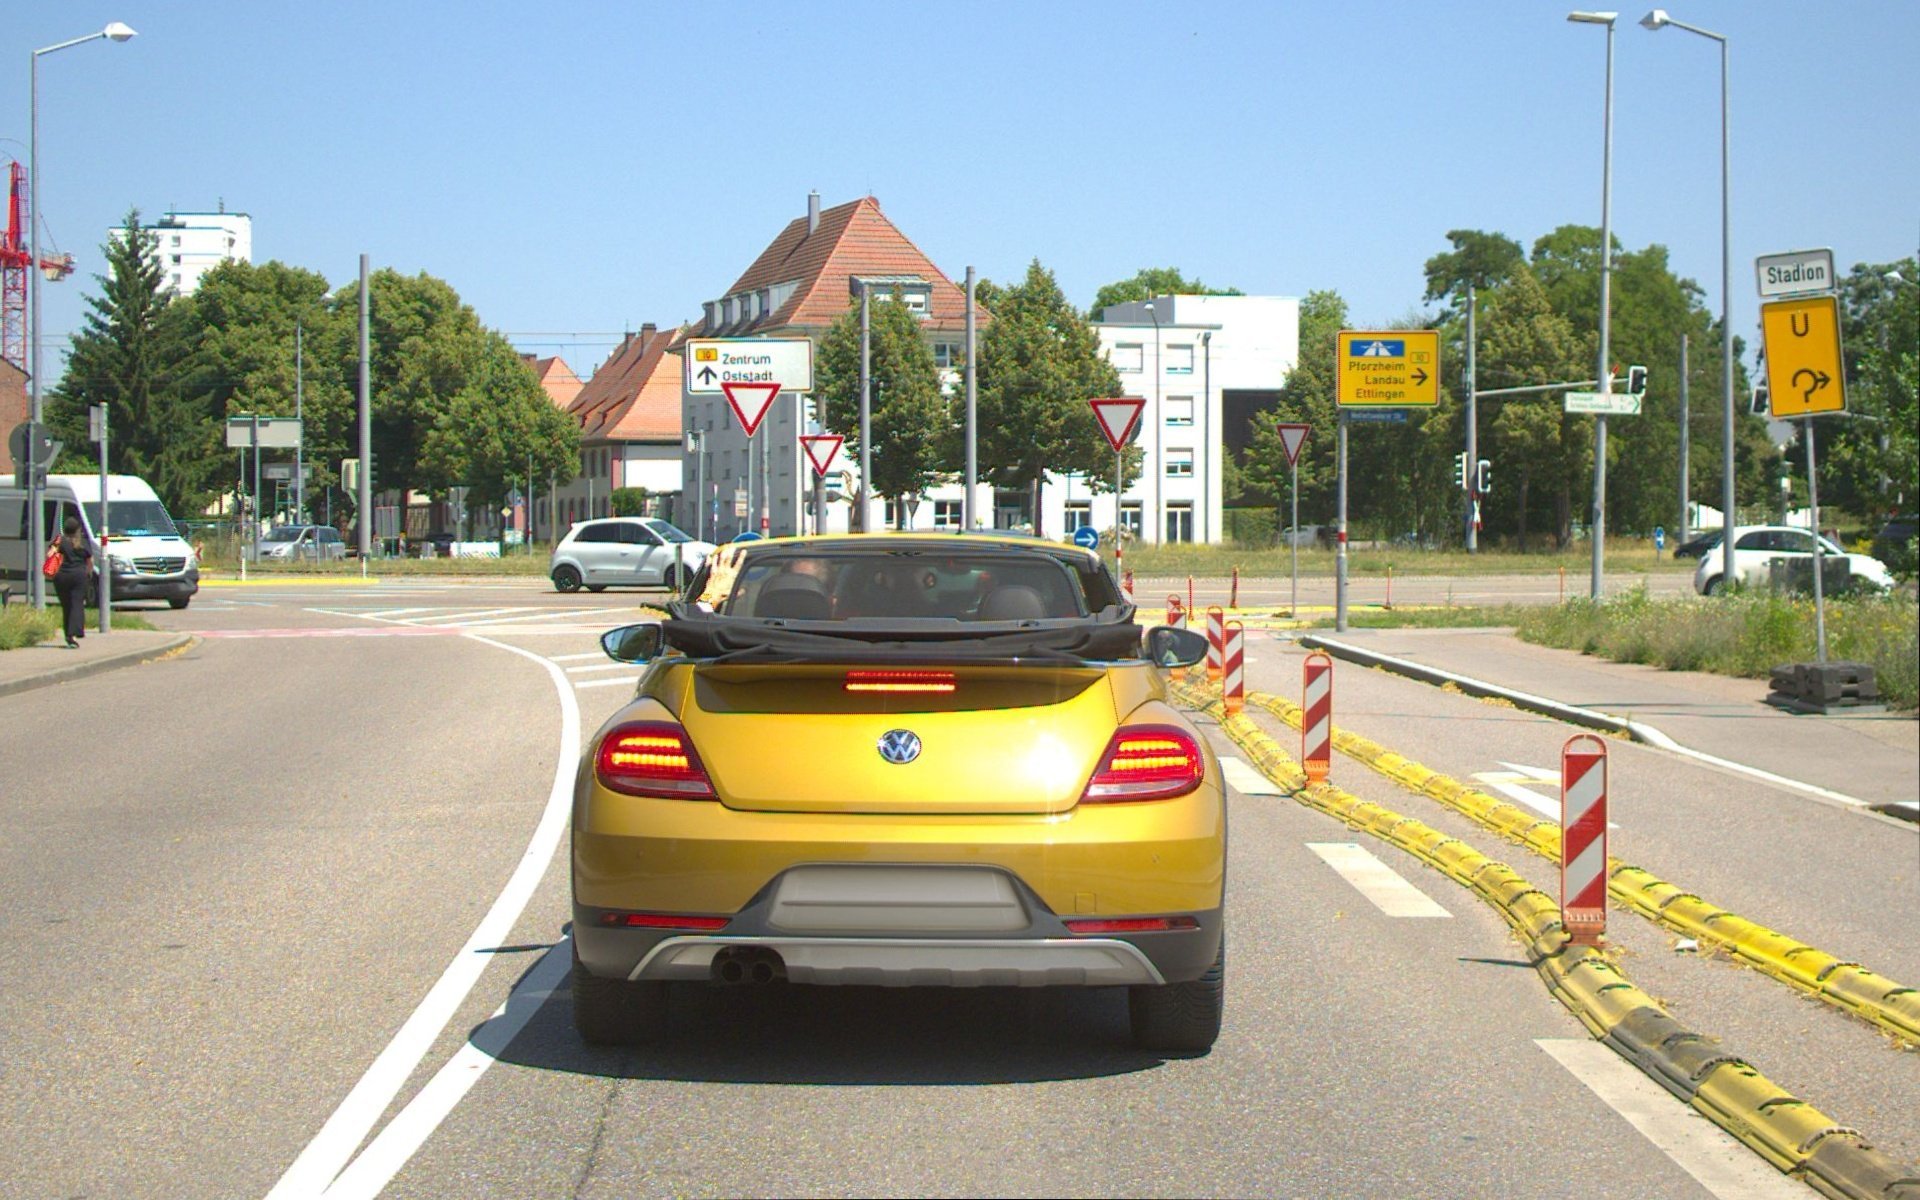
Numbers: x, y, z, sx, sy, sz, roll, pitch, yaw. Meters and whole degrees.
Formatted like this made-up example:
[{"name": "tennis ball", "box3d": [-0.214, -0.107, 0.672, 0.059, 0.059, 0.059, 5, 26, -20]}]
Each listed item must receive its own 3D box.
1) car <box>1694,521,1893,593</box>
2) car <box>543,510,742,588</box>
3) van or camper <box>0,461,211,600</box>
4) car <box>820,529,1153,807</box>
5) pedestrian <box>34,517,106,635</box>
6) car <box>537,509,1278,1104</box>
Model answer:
[{"name": "car", "box3d": [14.993, -0.774, 61.819, 3.440, 1.271, 1.201, 0, 1, 16]}, {"name": "car", "box3d": [-6.524, -1.053, 70.652, 3.699, 1.565, 1.681, 0, 1, 18]}, {"name": "van or camper", "box3d": [-17.100, -1.350, 66.594, 2.072, 2.568, 6.678, -1, 2, -41]}, {"name": "car", "box3d": [0.128, 0.311, 19.860, 1.726, 1.438, 4.000, 0, 1, 0]}, {"name": "pedestrian", "box3d": [-11.037, -0.303, 42.666, 0.722, 1.449, 0.818, 0, 1, -4]}, {"name": "car", "box3d": [-0.191, 0.456, 10.232, 1.790, 1.432, 3.814, 0, 1, -2]}]
